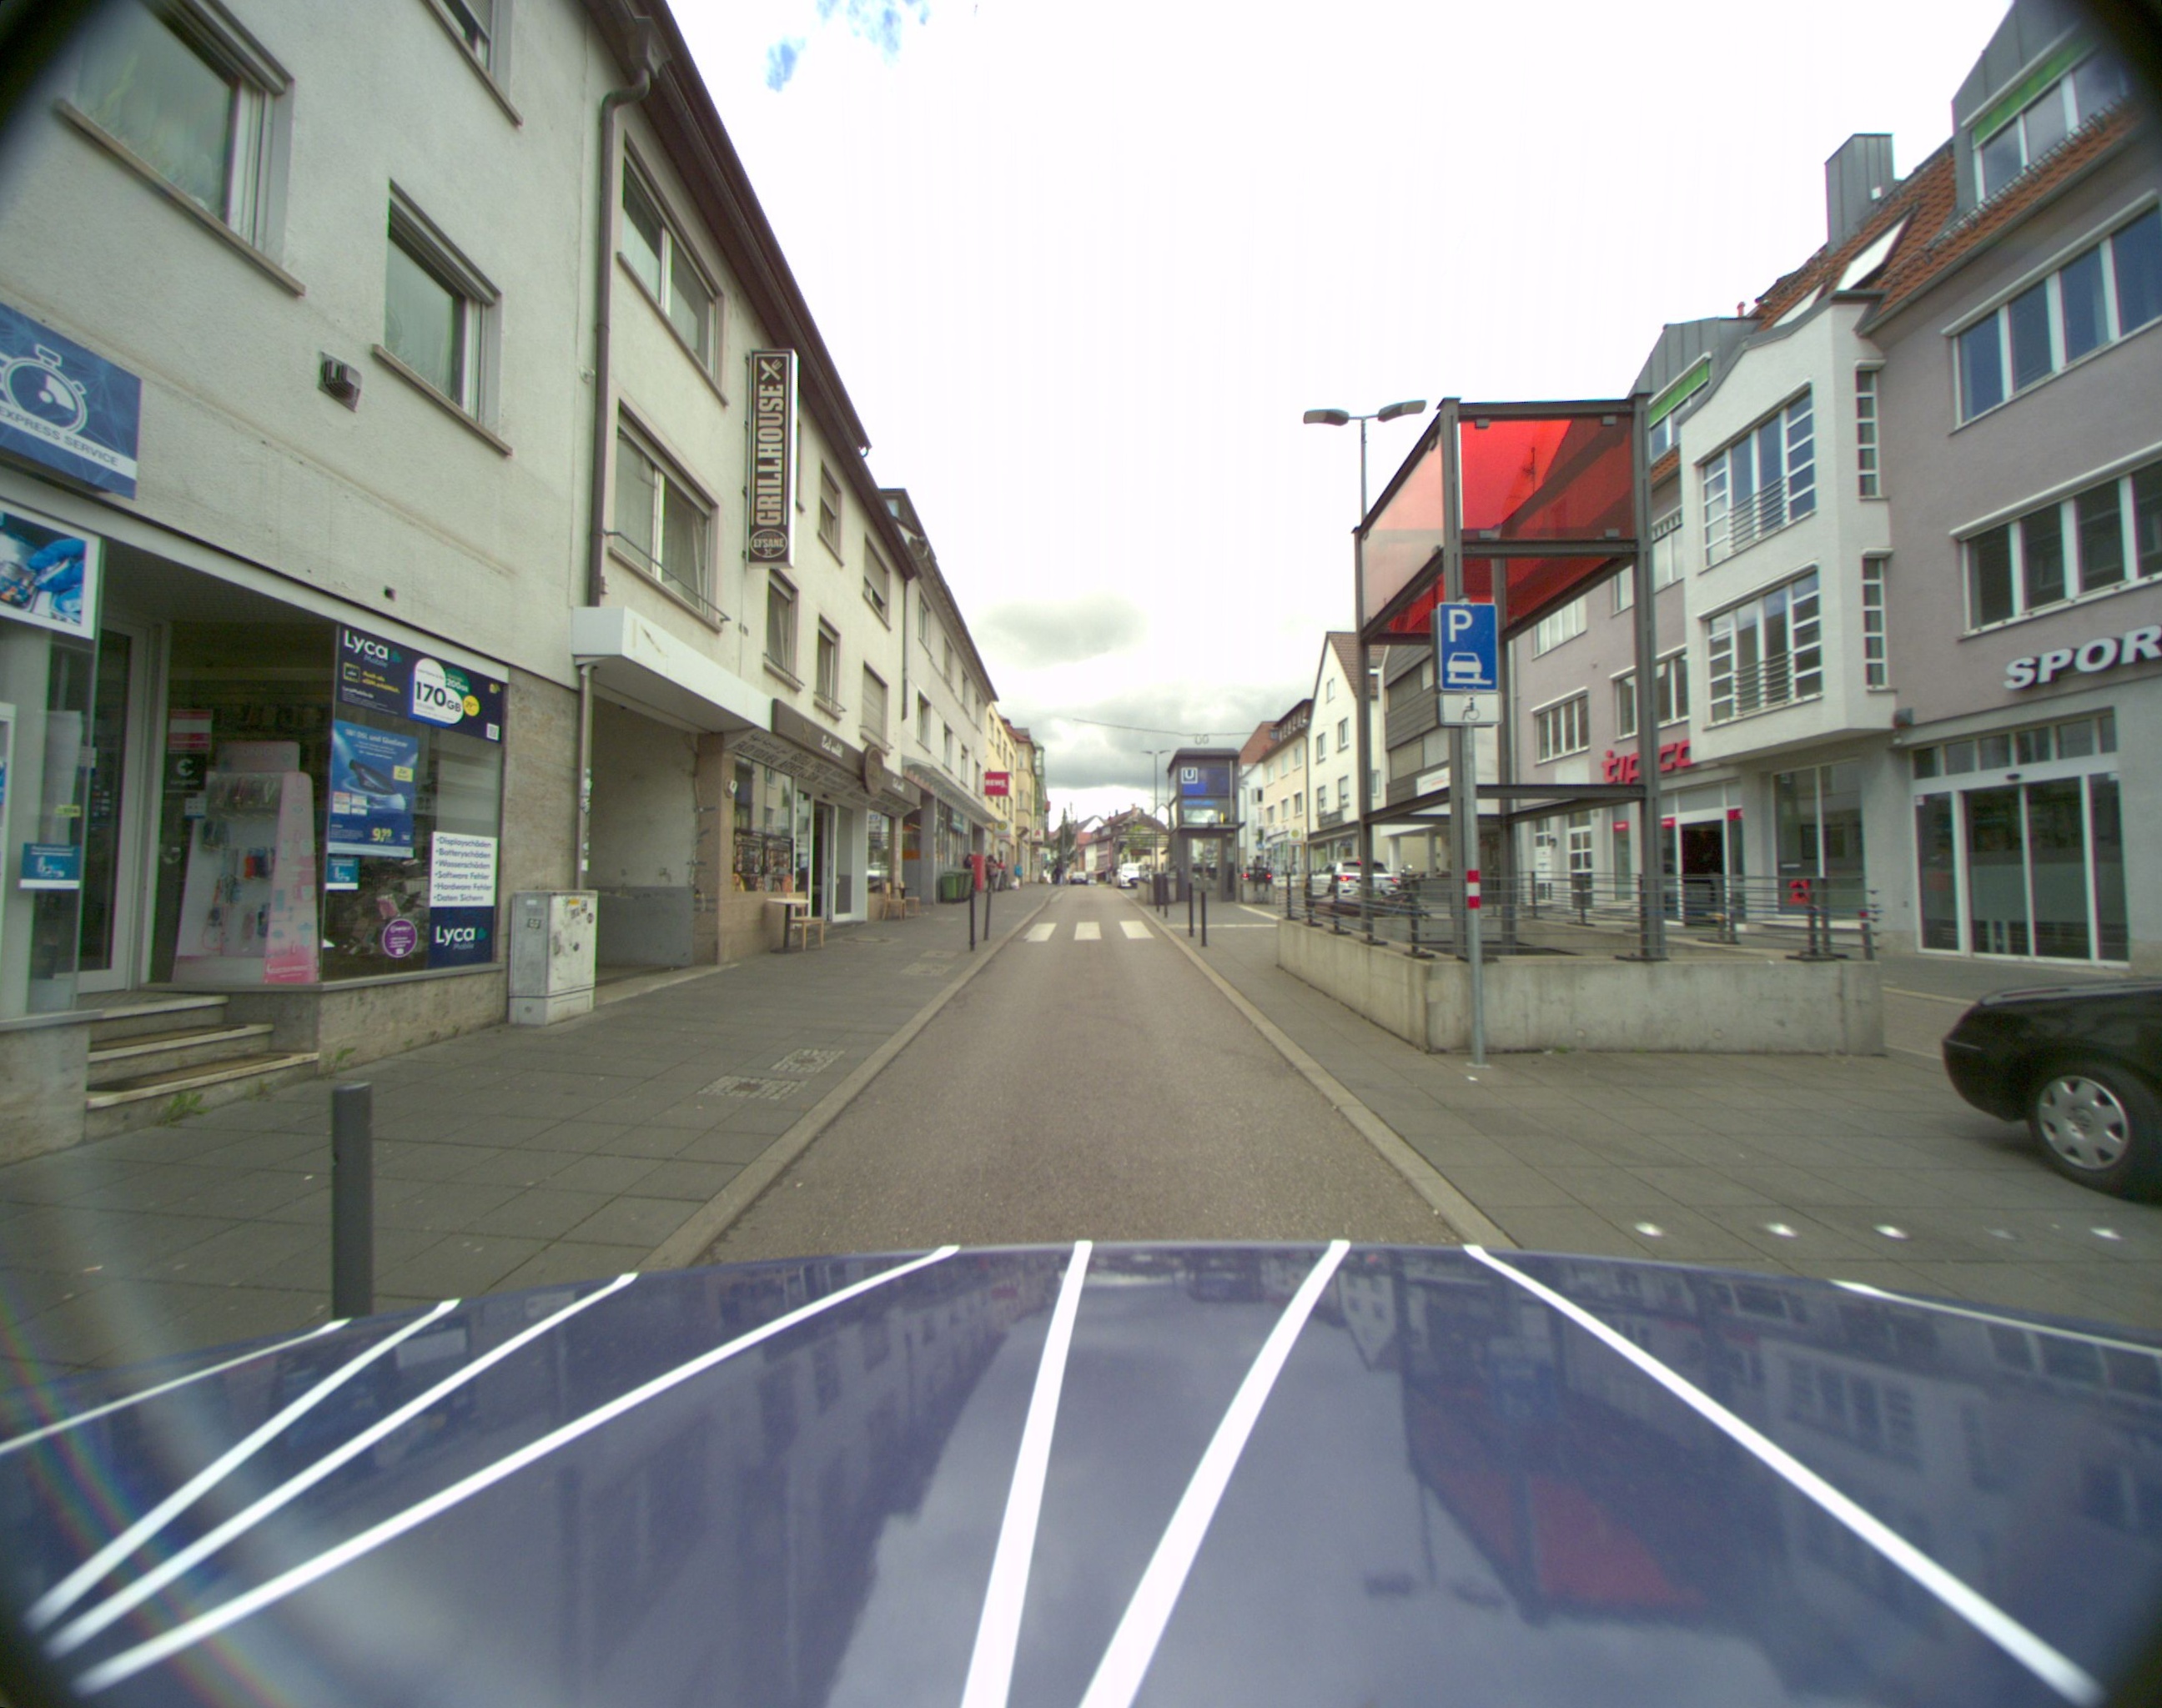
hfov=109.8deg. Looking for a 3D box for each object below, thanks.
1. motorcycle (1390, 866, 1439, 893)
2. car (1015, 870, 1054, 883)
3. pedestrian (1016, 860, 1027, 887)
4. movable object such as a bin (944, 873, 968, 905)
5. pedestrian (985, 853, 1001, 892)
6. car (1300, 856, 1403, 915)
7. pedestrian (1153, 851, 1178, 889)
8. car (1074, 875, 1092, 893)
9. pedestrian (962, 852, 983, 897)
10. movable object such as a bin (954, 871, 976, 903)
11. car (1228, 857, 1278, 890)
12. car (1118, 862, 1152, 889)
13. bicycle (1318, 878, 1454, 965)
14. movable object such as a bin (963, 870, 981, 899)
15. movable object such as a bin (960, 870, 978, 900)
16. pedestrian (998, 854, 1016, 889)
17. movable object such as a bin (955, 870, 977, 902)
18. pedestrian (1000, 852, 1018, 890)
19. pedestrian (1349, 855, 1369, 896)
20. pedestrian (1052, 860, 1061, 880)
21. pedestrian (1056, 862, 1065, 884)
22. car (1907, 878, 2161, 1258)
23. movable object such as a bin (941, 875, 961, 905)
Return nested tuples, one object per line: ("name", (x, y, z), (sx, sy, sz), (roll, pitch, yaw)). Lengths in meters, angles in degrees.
("motorcycle", (14.716, 1.119, 33.564), (1.854, 1.134, 0.634), (-2, 1, 0))
("car", (-5.852, 2.805, 95.700), (4.627, 1.570, 1.777), (-1, 0, -11))
("pedestrian", (-3.709, 1.219, 47.208), (0.627, 1.620, 0.607), (-2, 1, -5))
("movable object such as a bin", (-4.127, 1.149, 25.140), (0.670, 1.024, 0.560), (0, 0, 1))
("pedestrian", (-3.863, 0.810, 33.518), (0.627, 1.716, 0.607), (2, 1, -5))
("car", (8.117, 0.889, 23.185), (1.683, 1.562, 4.122), (-2, 0, 1))
("pedestrian", (4.283, 0.800, 38.656), (1.097, 1.831, 0.931), (-2, 1, 1))
("car", (0.211, 2.993, 77.109), (1.741, 1.608, 3.843), (-2, 0, 0))
("pedestrian", (-4.222, 0.784, 29.522), (0.628, 1.716, 0.606), (-2, 1, -22))
("movable object such as a bin", (-3.942, 1.111, 25.821), (0.652, 1.074, 0.673), (0, 0, 1))
("car", (8.983, 0.969, 40.032), (1.683, 1.562, 4.122), (-2, 0, 1))
("car", (3.099, 1.218, 44.128), (1.754, 1.452, 3.601), (-2, 0, 1))
("bicycle", (4.420, 0.971, 11.068), (1.782, 1.216, 0.459), (0, 1, 0))
("movable object such as a bin", (-3.979, 1.097, 27.764), (0.560, 1.050, 0.559), (0, 0, 1))
("movable object such as a bin", (-3.999, 1.118, 27.181), (0.569, 1.053, 0.574), (0, 0, 1))
("pedestrian", (-3.722, 0.882, 38.219), (0.608, 1.716, 0.626), (-3, 1, -29))
("movable object such as a bin", (-3.999, 1.109, 26.536), (0.652, 1.074, 0.659), (0, 0, 1))
("pedestrian", (-3.536, 0.833, 37.217), (0.628, 1.811, 0.605), (-3, 1, -34))
("pedestrian", (11.837, 0.896, 32.369), (0.592, 1.706, 0.513), (-2, 1, 1))
("pedestrian", (-2.093, 1.379, 65.520), (0.657, 1.620, 0.743), (-2, 1, -6))
("pedestrian", (-1.540, 1.451, 57.415), (0.657, 1.620, 0.743), (-2, 1, -1))
("car", (5.087, 0.879, 1.981), (1.573, 1.466, 3.855), (1, 0, -2))
("movable object such as a bin", (-4.199, 1.144, 24.552), (0.568, 0.951, 0.498), (0, 0, 1))
